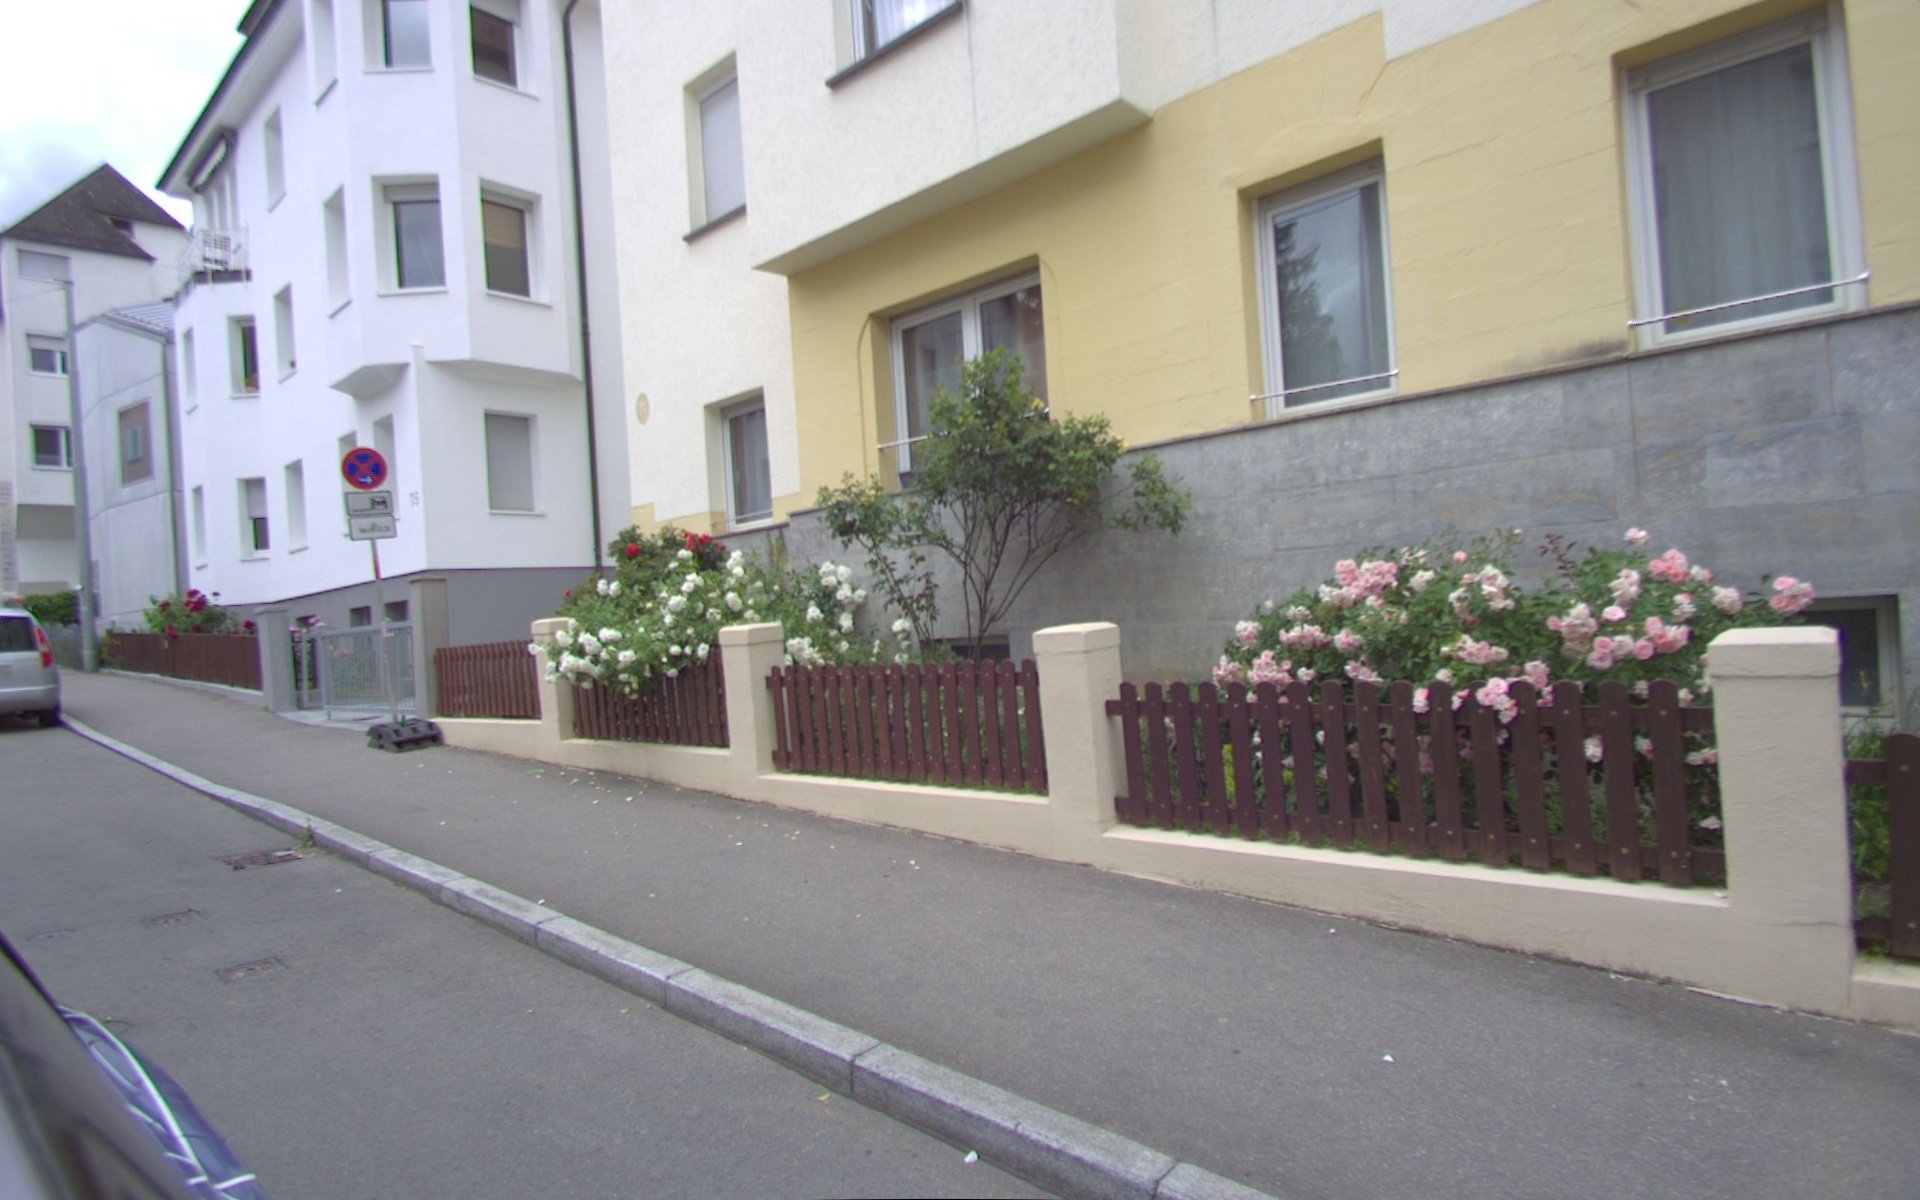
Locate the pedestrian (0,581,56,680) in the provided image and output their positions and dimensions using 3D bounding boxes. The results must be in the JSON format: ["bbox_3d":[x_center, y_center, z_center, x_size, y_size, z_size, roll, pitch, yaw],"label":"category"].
[{"bbox_3d":[-18.704,0.600,20.148,0.805,1.898,0.850,-2,0,-26],"label":"pedestrian"}]

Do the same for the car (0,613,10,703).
[{"bbox_3d":[-17.936,1.005,17.464,4.502,1.468,1.826,-1,0,41],"label":"car"}]

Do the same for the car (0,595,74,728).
[{"bbox_3d":[-13.848,0.850,13.894,4.282,1.643,1.827,-2,0,39],"label":"car"}]
